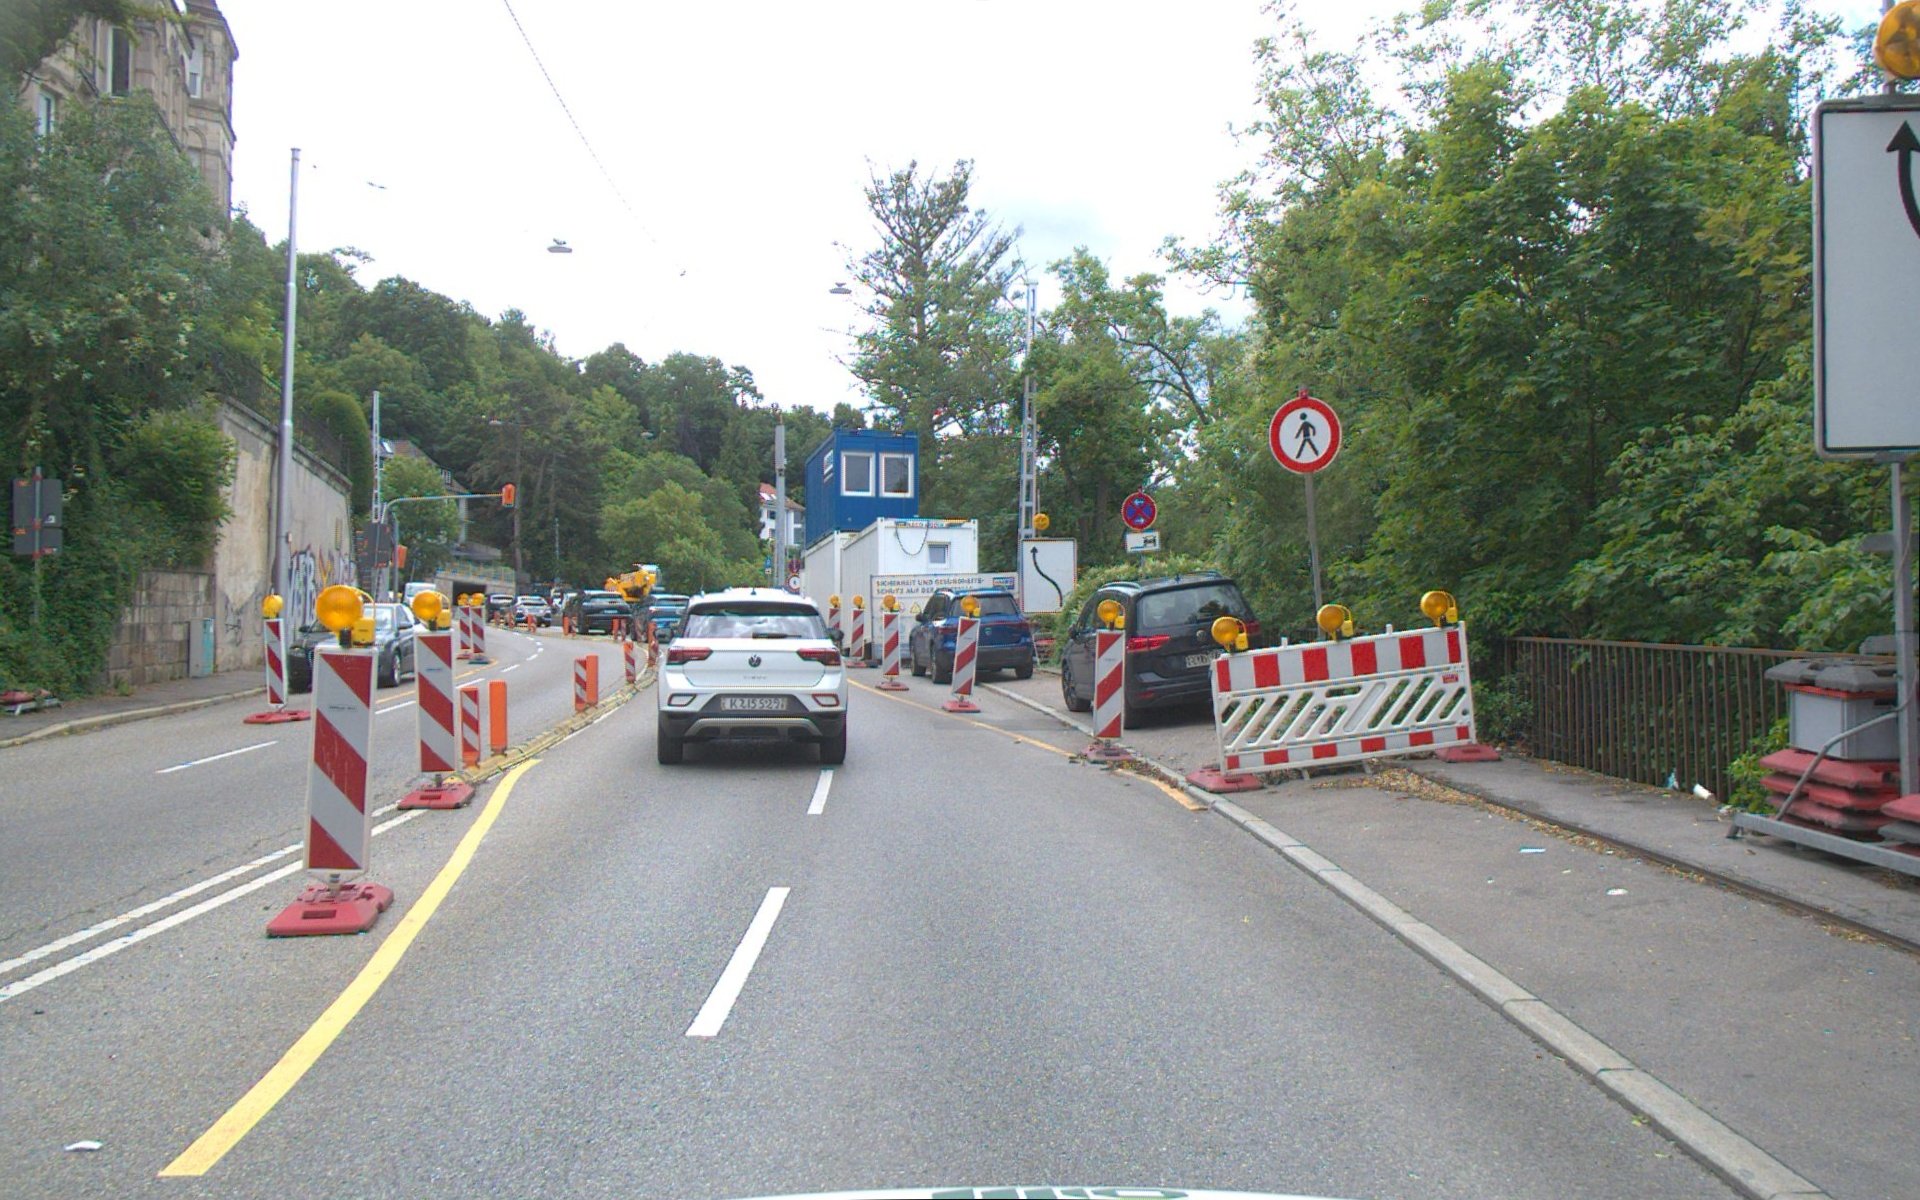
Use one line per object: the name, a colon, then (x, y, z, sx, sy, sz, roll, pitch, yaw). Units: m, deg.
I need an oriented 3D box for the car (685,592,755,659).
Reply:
car: (-6.464, 0.665, 44.451, 1.776, 1.692, 3.991, 0, 0, -9)

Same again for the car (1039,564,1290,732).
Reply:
car: (2.404, 0.547, 20.717, 1.828, 1.703, 4.637, -5, 0, -9)

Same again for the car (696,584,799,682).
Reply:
car: (-3.963, 0.582, 30.902, 1.775, 1.692, 3.993, 0, 0, -7)

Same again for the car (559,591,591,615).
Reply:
car: (-25.687, 0.197, 110.312, 1.767, 1.537, 3.978, 1, -1, -18)

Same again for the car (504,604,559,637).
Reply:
car: (-20.477, 0.952, 78.939, 1.772, 1.537, 3.966, 0, 0, -26)

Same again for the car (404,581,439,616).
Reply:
car: (-35.521, -0.083, 109.018, 2.036, 2.226, 4.934, -1, 0, -20)

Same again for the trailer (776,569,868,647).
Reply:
trailer: (-4.927, 0.292, 58.266, 2.075, 2.594, 5.091, -1, 0, -18)

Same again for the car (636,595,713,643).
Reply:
car: (-9.457, 0.609, 54.576, 1.768, 1.537, 3.975, 0, 0, -21)

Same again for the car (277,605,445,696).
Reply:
car: (-10.365, 0.823, 28.942, 1.765, 1.397, 4.381, -2, 0, -7)

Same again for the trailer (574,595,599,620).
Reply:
trailer: (-23.371, 0.459, 103.395, 1.267, 1.501, 3.618, 2, -1, -16)

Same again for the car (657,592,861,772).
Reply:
car: (-2.068, 0.720, 16.482, 1.776, 1.558, 3.991, 0, 0, -9)

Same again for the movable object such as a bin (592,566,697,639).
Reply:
movable object such as a bin: (-14.638, 0.136, 76.225, 2.777, 3.125, 7.757, 2, -1, -26)

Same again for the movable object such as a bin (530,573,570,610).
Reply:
movable object such as a bin: (-31.353, -0.597, 126.680, 2.168, 2.709, 4.939, 1, -1, -5)

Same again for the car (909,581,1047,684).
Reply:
car: (0.246, 0.582, 30.969, 1.806, 1.671, 4.493, -4, 0, -9)

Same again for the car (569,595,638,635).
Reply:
car: (-14.001, 0.576, 64.815, 1.772, 1.537, 3.966, 0, 0, -26)

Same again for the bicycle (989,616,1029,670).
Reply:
bicycle: (1.064, 0.929, 36.157, 0.489, 1.127, 1.796, -2, 0, -10)
